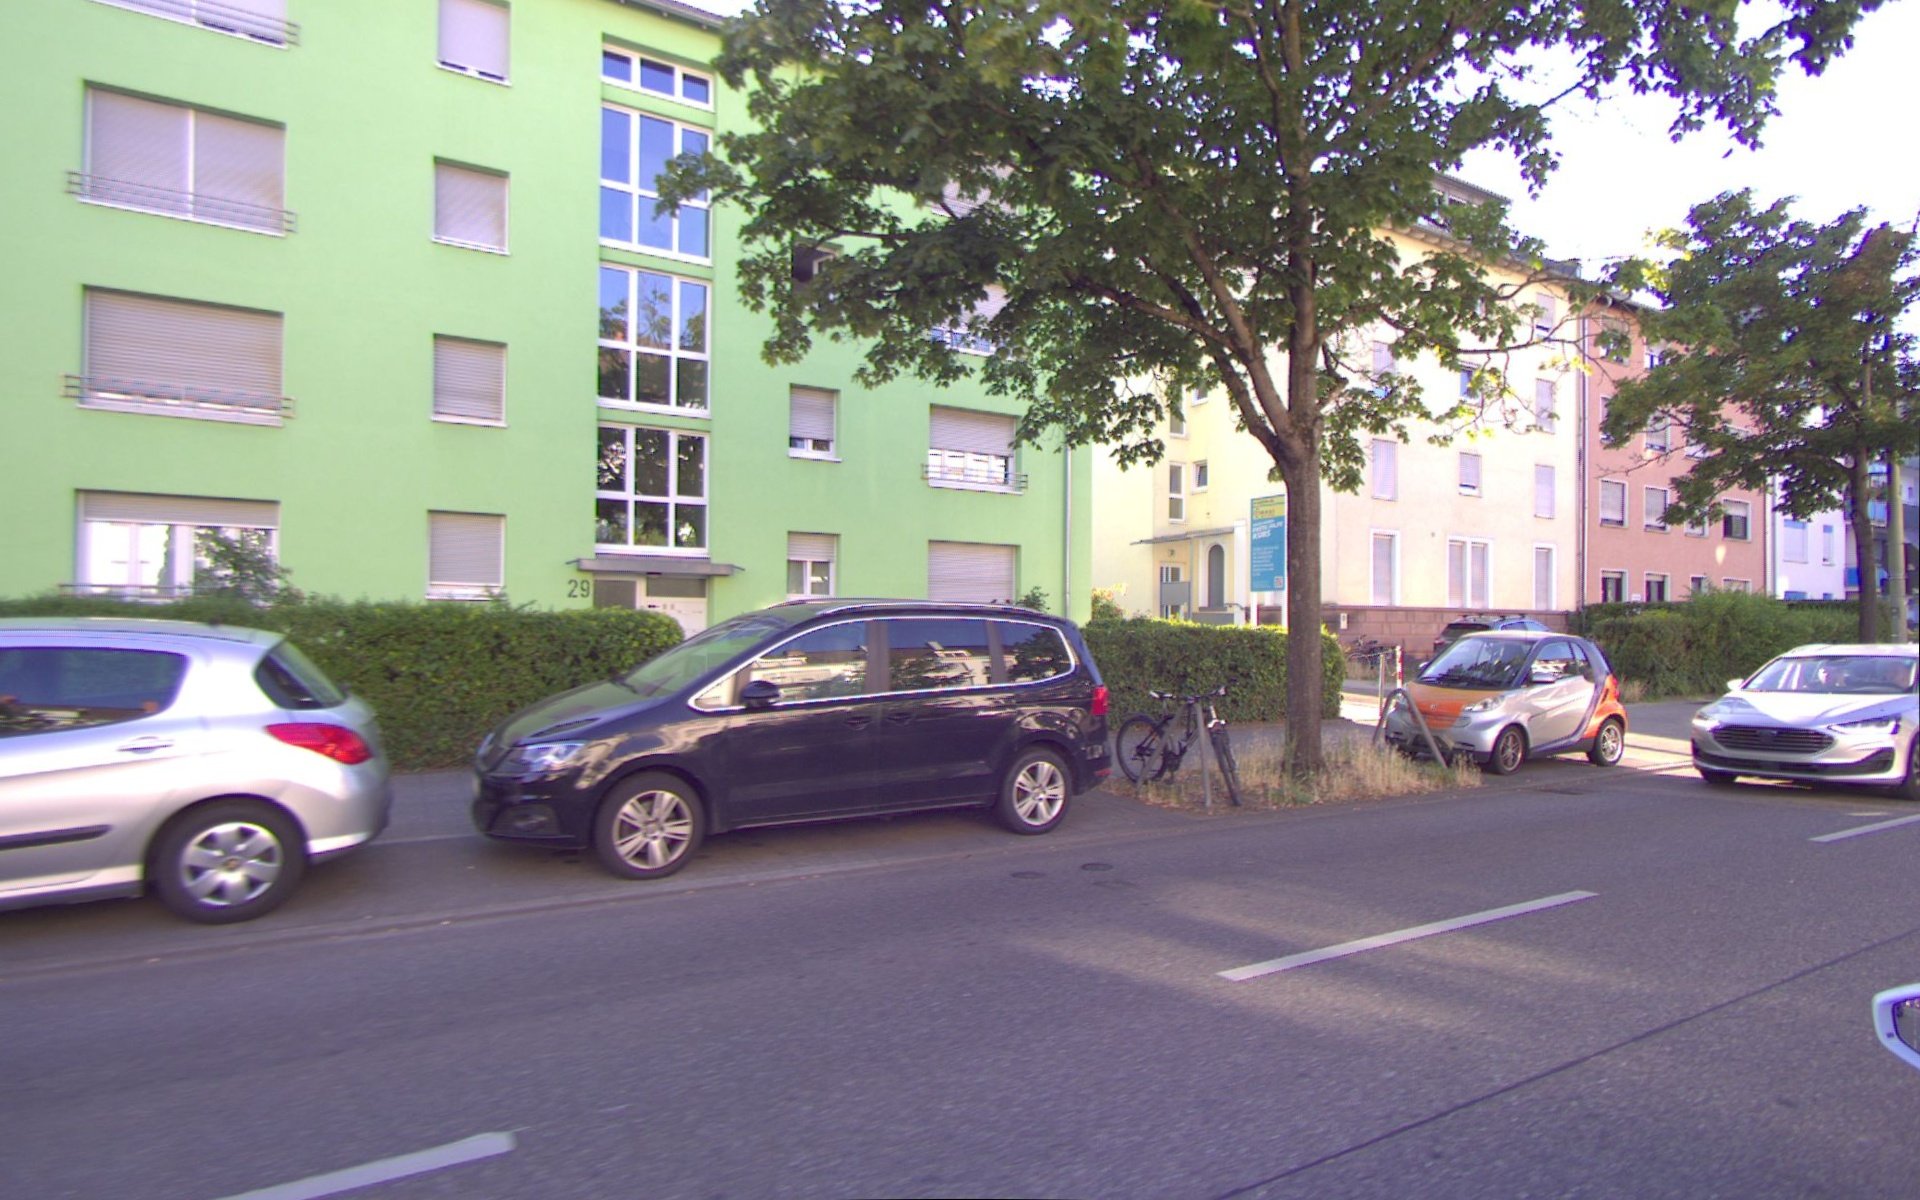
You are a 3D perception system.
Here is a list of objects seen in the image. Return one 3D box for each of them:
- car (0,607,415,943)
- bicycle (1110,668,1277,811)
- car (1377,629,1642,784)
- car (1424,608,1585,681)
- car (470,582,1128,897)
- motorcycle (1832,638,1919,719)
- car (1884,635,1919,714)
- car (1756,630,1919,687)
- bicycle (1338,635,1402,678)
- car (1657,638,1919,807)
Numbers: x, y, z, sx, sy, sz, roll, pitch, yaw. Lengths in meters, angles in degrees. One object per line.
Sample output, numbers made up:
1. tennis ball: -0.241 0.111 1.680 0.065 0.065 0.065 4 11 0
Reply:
1. car: -5.190 0.806 5.116 4.145 1.541 1.673 2 -1 -32
2. bicycle: 2.141 1.248 9.428 0.553 1.104 1.668 1 0 -28
3. car: 6.623 1.196 12.109 2.825 1.638 1.494 1 -1 -27
4. car: 13.748 1.111 25.327 3.954 1.705 1.818 2 -1 -31
5. car: -1.083 0.849 7.551 4.562 1.755 1.776 2 -2 -30
6. motorcycle: 17.615 1.462 18.602 1.991 1.407 0.989 2 0 28
7. car: 20.913 1.515 20.543 4.535 1.524 1.770 1 -1 -31
8. car: 27.037 1.723 30.587 1.893 1.432 3.968 1 1 -29
9. bicycle: 11.019 1.503 26.970 1.975 1.104 0.482 1 -1 -30
10. car: 9.660 1.195 10.843 4.400 1.489 1.823 1 -4 -31
